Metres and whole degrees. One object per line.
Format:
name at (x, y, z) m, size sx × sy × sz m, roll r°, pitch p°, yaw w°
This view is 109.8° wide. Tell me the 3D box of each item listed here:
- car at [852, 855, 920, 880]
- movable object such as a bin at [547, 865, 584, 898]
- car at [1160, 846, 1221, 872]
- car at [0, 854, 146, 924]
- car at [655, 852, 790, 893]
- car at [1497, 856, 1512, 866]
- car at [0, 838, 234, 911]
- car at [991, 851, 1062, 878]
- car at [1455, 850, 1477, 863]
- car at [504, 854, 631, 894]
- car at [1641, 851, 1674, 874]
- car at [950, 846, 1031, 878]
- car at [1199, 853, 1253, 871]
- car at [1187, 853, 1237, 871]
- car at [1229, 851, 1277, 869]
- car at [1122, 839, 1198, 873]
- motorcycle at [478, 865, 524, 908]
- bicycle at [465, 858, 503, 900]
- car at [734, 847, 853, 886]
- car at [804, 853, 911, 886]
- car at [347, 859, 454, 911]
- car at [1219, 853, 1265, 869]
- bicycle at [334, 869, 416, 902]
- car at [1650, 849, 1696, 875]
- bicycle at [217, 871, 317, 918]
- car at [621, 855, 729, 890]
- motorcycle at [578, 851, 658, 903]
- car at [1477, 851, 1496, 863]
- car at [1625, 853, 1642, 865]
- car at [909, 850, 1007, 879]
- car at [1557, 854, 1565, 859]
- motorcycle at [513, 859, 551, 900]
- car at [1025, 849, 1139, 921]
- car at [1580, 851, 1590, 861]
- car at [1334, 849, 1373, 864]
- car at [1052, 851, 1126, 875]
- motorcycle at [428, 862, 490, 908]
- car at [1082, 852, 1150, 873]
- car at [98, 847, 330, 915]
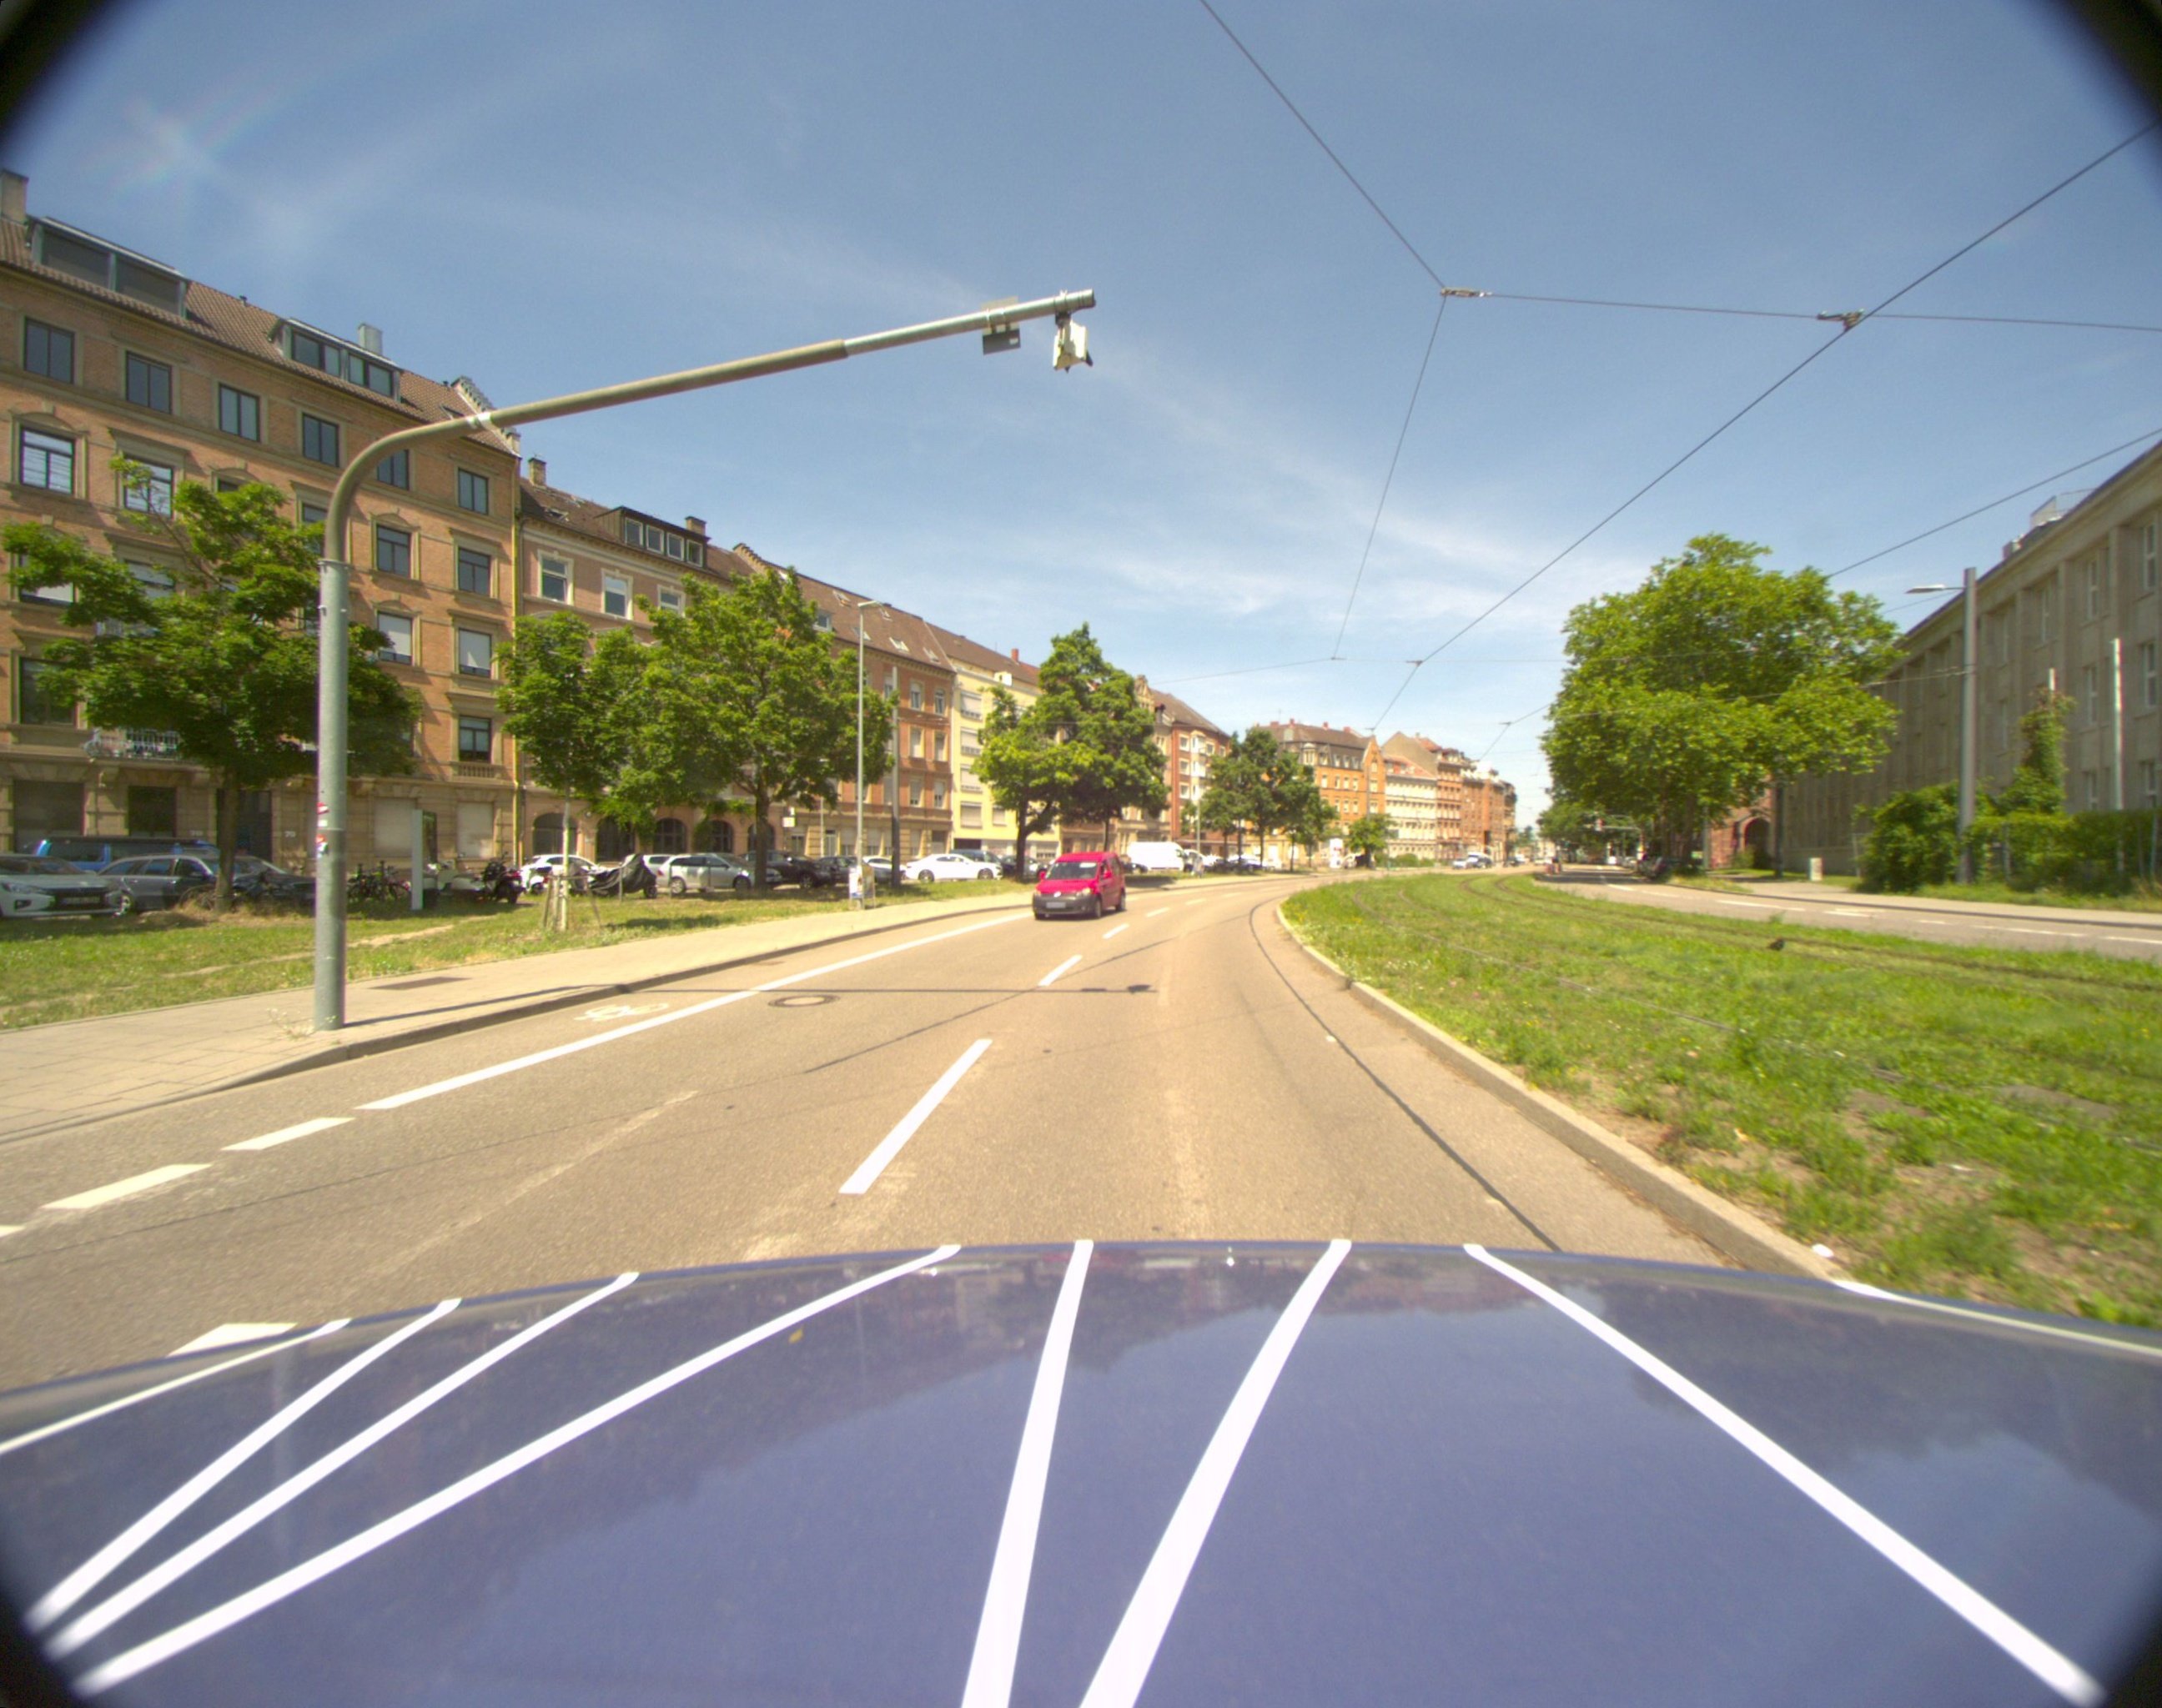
car at (-11.672, 0.822, 45.714) m, size 1.780 × 1.411 × 3.723 m, roll -2°, pitch -1°, yaw 34°
movable object such as a bin at (-15.074, 0.786, 22.216) m, size 0.703 × 0.931 × 0.986 m, roll -1°, pitch 0°, yaw -44°
car at (8.877, 0.388, 61.861) m, size 4.842 × 1.961 × 2.078 m, roll -1°, pitch 0°, yaw 6°
car at (-21.807, 0.709, 15.383) m, size 3.994 × 1.324 × 1.760 m, roll -1°, pitch 0°, yaw 8°
car at (-13.191, 0.671, 28.027) m, size 4.342 × 1.368 × 1.584 m, roll -1°, pitch 0°, yaw 9°
car at (68.240, 1.092, 122.483) m, size 1.796 × 1.564 × 4.008 m, roll -2°, pitch -1°, yaw 33°
car at (-27.937, 0.547, 21.763) m, size 1.920 × 1.892 × 4.663 m, roll -2°, pitch -1°, yaw 35°
car at (-3.093, 0.606, 43.895) m, size 3.997 × 1.392 × 1.712 m, roll -1°, pitch 0°, yaw -1°
car at (47.807, 0.344, 94.410) m, size 1.796 × 1.564 × 4.008 m, roll -2°, pitch -1°, yaw 36°
car at (-21.370, 0.805, 31.756) m, size 1.837 × 1.521 × 4.008 m, roll -2°, pitch -1°, yaw 36°
car at (46.434, 0.665, 61.294) m, size 1.994 × 1.800 × 4.310 m, roll -2°, pitch -1°, yaw 36°
car at (-4.934, 0.449, 41.753) m, size 3.994 × 1.652 × 1.974 m, roll -1°, pitch 0°, yaw 9°
car at (12.819, 0.697, 67.183) m, size 4.626 × 1.488 × 1.967 m, roll -1°, pitch 0°, yaw 11°
car at (11.093, 0.679, 64.272) m, size 3.993 × 1.378 × 1.826 m, roll -1°, pitch 0°, yaw 14°
car at (16.354, 0.574, 72.274) m, size 4.405 × 1.622 × 2.002 m, roll -1°, pitch 0°, yaw 13°
car at (6.091, 0.164, 58.936) m, size 5.548 × 2.446 × 2.238 m, roll -1°, pitch 0°, yaw -2°
motorcycle at (-15.416, 0.860, 20.183) m, size 1.521 × 1.113 × 0.479 m, roll -2°, pitch 0°, yaw 34°
bicycle at (-18.372, 0.777, 23.371) m, size 2.079 × 1.228 × 0.632 m, roll -2°, pitch 0°, yaw 45°
car at (-11.556, 0.505, 30.642) m, size 4.087 × 1.461 × 1.799 m, roll -1°, pitch 0°, yaw 7°
car at (-9.687, 0.679, 33.049) m, size 3.993 × 1.305 × 1.974 m, roll -1°, pitch 0°, yaw 13°
car at (-20.219, 0.887, 22.527) m, size 3.989 × 1.368 × 1.961 m, roll -2°, pitch -1°, yaw 42°
car at (14.741, 0.631, 69.539) m, size 3.993 × 1.391 × 1.826 m, roll -1°, pitch 0°, yaw 14°
bicycle at (-18.240, 0.809, 19.668) m, size 1.457 × 0.800 × 0.498 m, roll -1°, pitch 0°, yaw -21°
car at (34.792, 0.437, 44.757) m, size 1.589 × 1.415 × 4.332 m, roll -2°, pitch -1°, yaw 31°
bicycle at (-17.266, 0.842, 16.148) m, size 1.373 × 0.942 × 0.475 m, roll -1°, pitch 0°, yaw -35°
car at (-18.871, 0.833, 35.478) m, size 1.837 × 1.521 × 4.008 m, roll -2°, pitch -1°, yaw 33°
motorcycle at (-13.315, 0.634, 21.903) m, size 0.675 × 1.405 × 1.860 m, roll 1°, pitch 1°, yaw 36°
car at (55.391, 0.437, 103.744) m, size 1.796 × 1.564 × 4.008 m, roll -2°, pitch -1°, yaw 36°
car at (73.467, 0.657, 100.996) m, size 1.659 × 1.450 × 4.229 m, roll -2°, pitch -1°, yaw 34°
car at (-6.255, 0.532, 38.973) m, size 4.787 × 1.305 × 2.149 m, roll -1°, pitch 0°, yaw -7°
car at (130.051, 0.698, 205.850) m, size 1.747 × 1.386 × 4.356 m, roll -3°, pitch -2°, yaw 32°
motorcycle at (-17.420, 0.779, 24.079) m, size 0.814 × 1.229 × 2.079 m, roll -1°, pitch 0°, yaw -40°
car at (0.191, 0.815, 21.994) m, size 1.857 × 1.823 × 5.173 m, roll -1°, pitch -1°, yaw 16°
car at (119.094, 0.549, 179.539) m, size 1.817 × 2.283 × 3.769 m, roll -1°, pitch 0°, yaw 32°
car at (36.719, 0.372, 102.349) m, size 4.842 × 1.926 × 2.171 m, roll -2°, pitch 0°, yaw 24°
car at (0.482, 0.603, 49.165) m, size 4.690 × 1.419 × 1.972 m, roll -1°, pitch 0°, yaw -2°
motorcycle at (-15.914, 0.795, 19.435) m, size 1.823 × 1.113 × 0.529 m, roll -2°, pitch 0°, yaw 28°
car at (2.364, 0.600, 52.189) m, size 4.429 × 1.330 × 1.972 m, roll -1°, pitch 0°, yaw -2°
car at (-20.195, 0.621, 17.782) m, size 3.864 × 1.424 × 1.608 m, roll -1°, pitch 0°, yaw 6°
